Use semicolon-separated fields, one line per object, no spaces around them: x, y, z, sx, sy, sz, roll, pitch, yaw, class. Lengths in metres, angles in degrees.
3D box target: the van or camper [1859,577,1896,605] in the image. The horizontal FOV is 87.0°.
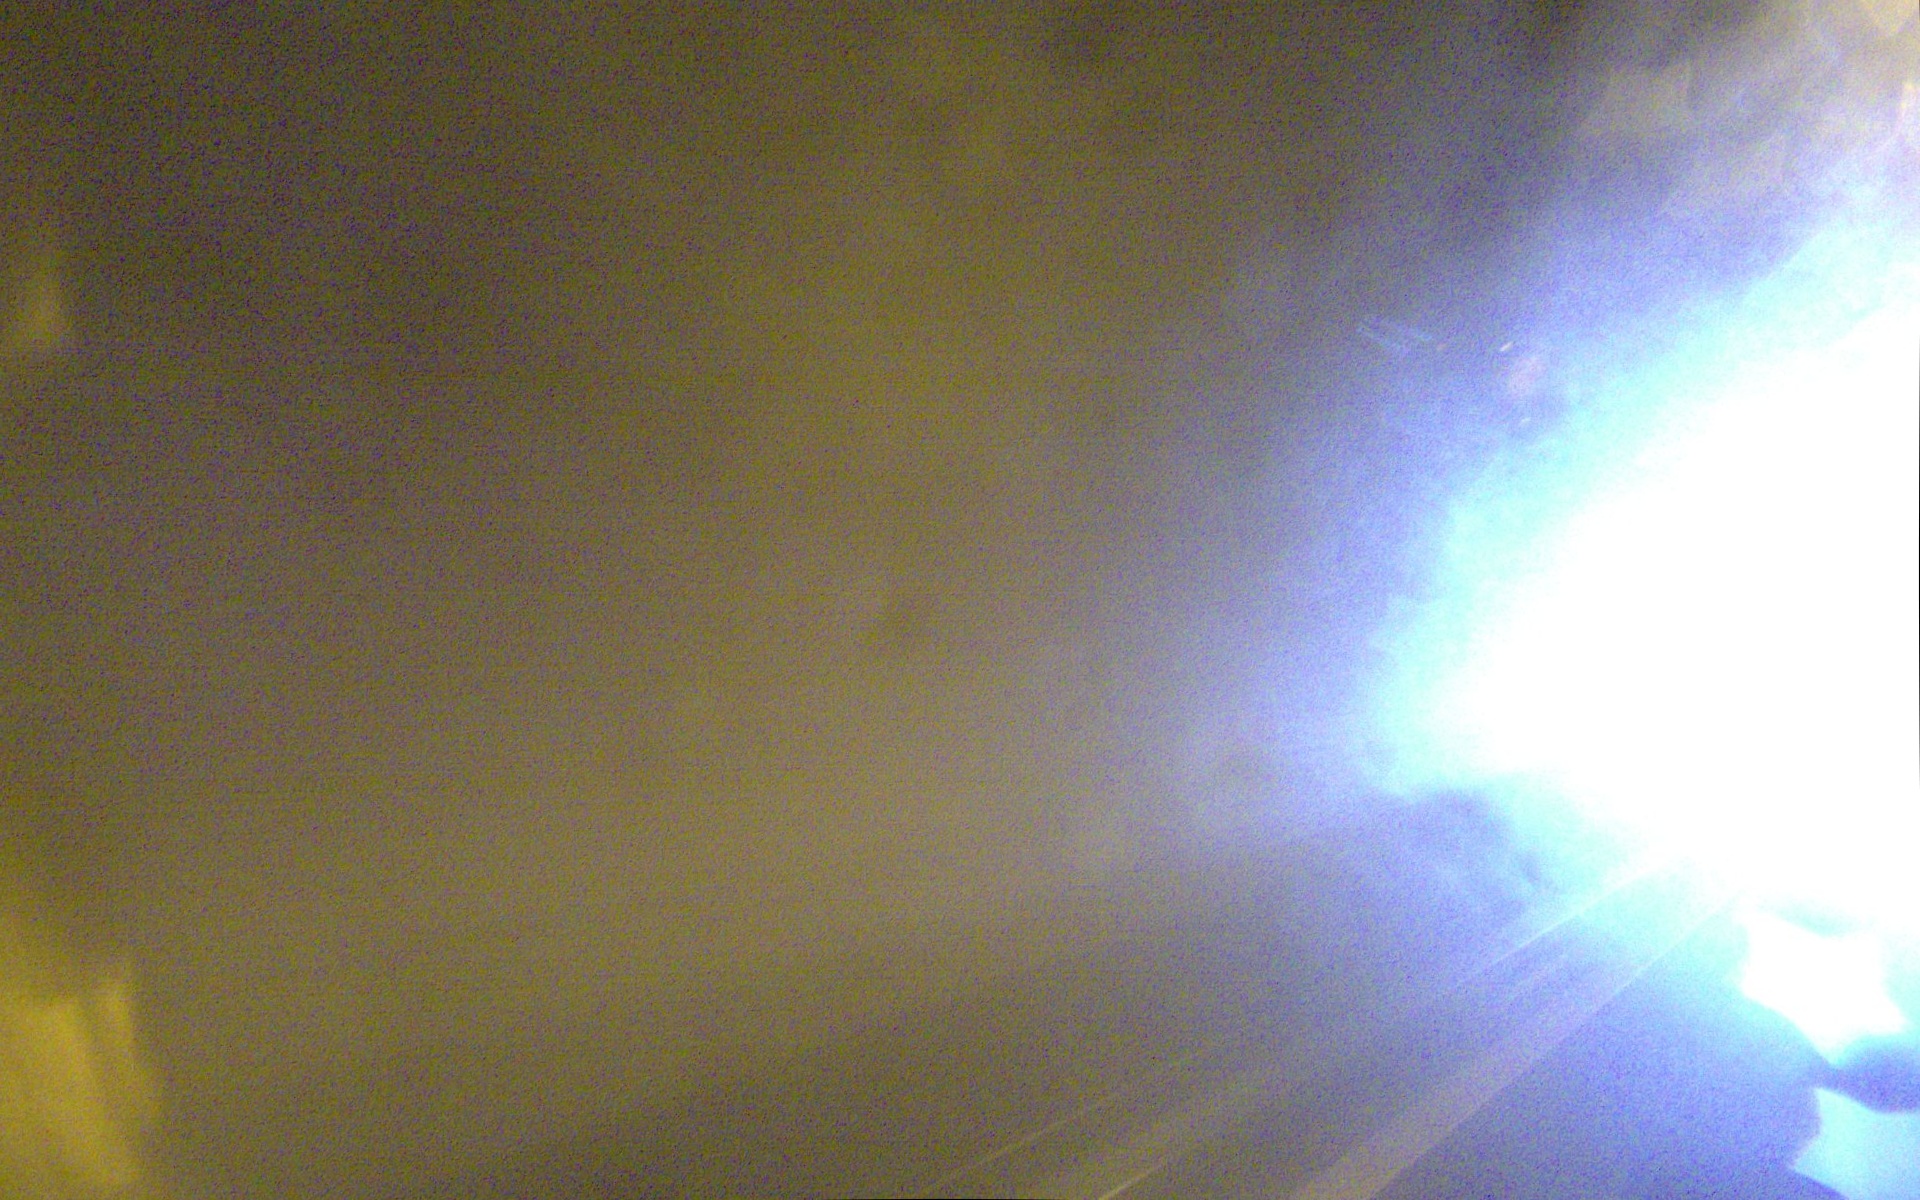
97.178;-0.947;107.222;2.409;2.919;6.586;1;1;38;van or camper
